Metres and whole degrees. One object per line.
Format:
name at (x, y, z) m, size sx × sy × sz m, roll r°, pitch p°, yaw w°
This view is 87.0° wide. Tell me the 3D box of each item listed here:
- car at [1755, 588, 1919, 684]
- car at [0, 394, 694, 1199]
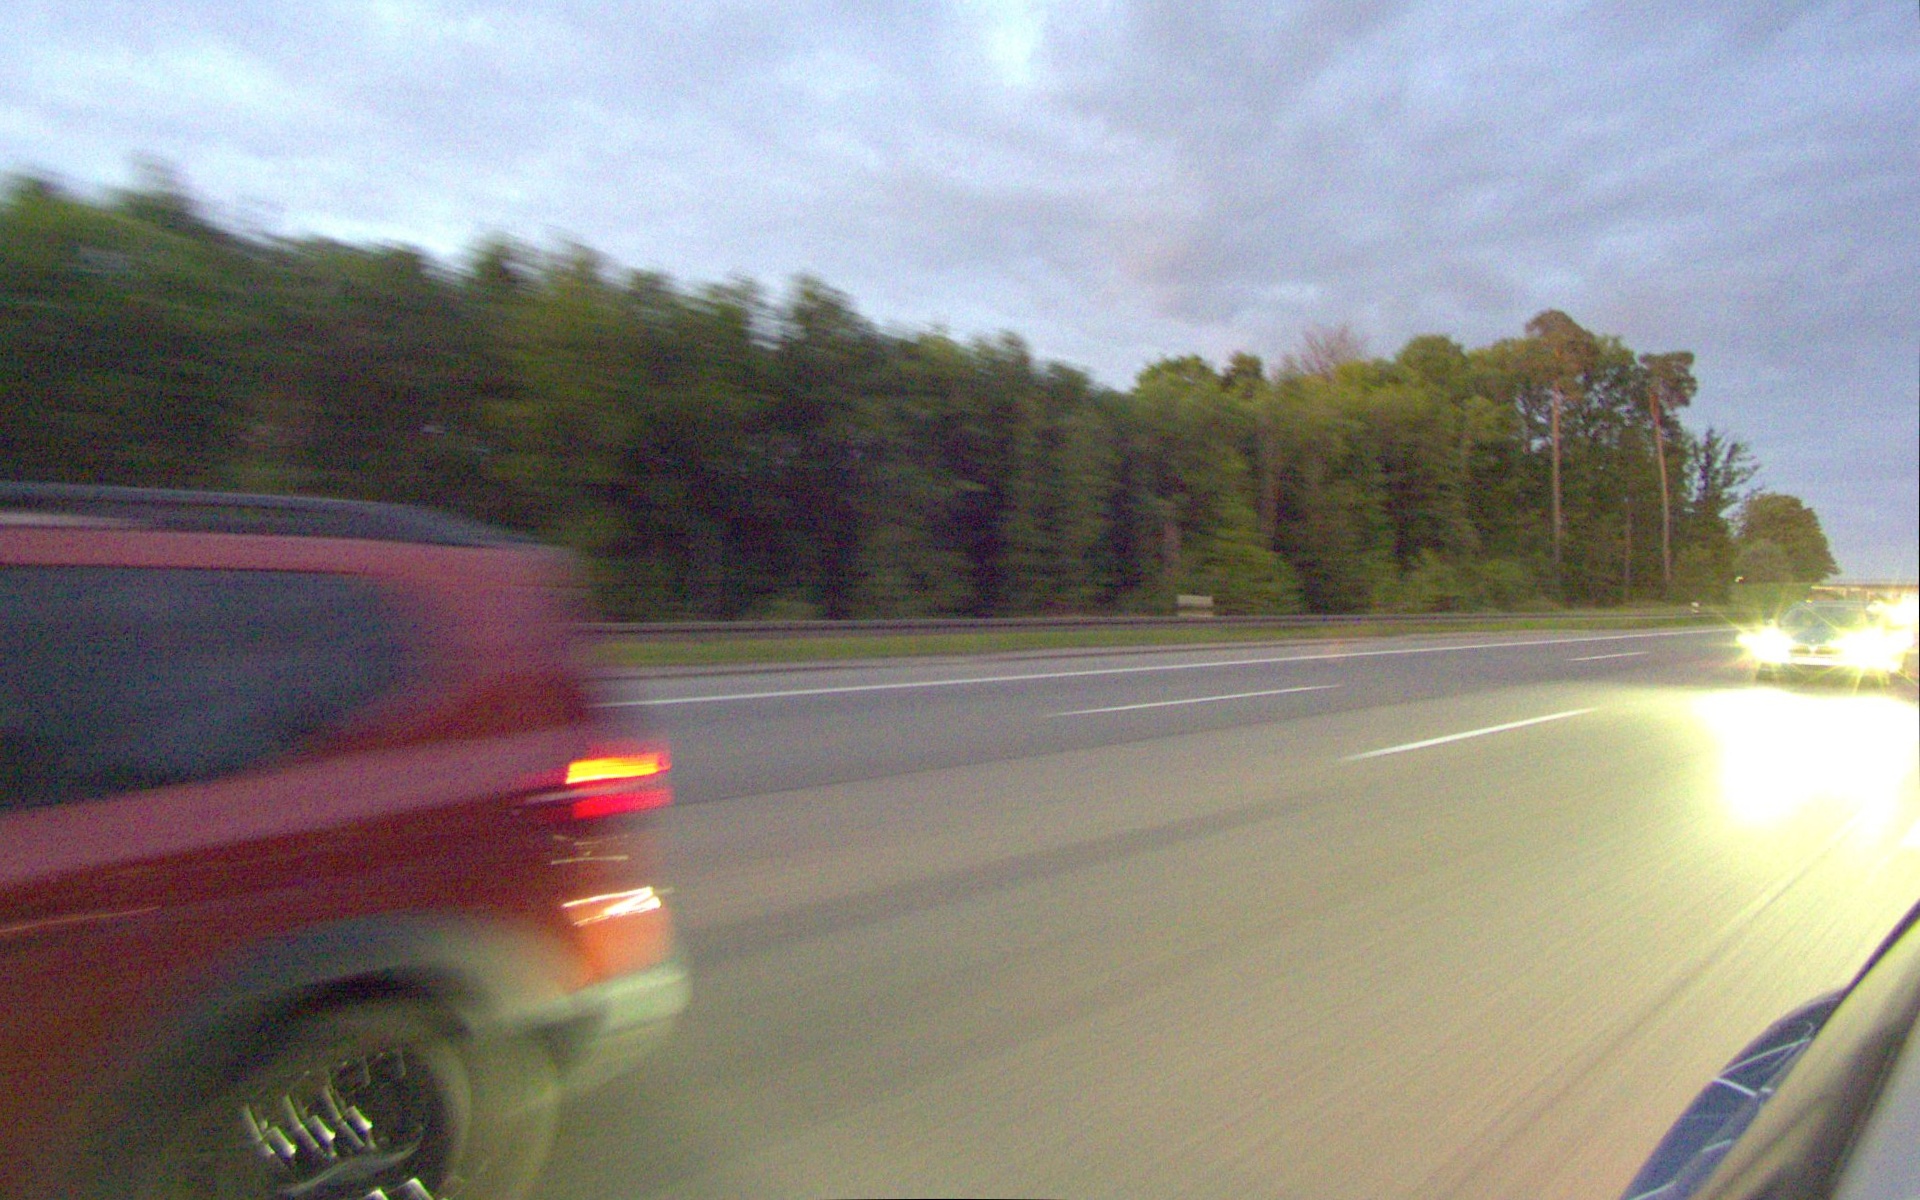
car at (16.849, 0.568, 19.171) m, size 5.141 × 1.556 × 1.912 m, roll -1°, pitch 2°, yaw -42°
car at (-3.136, 0.561, 1.487) m, size 4.965 × 1.664 × 1.905 m, roll -2°, pitch 0°, yaw -41°
